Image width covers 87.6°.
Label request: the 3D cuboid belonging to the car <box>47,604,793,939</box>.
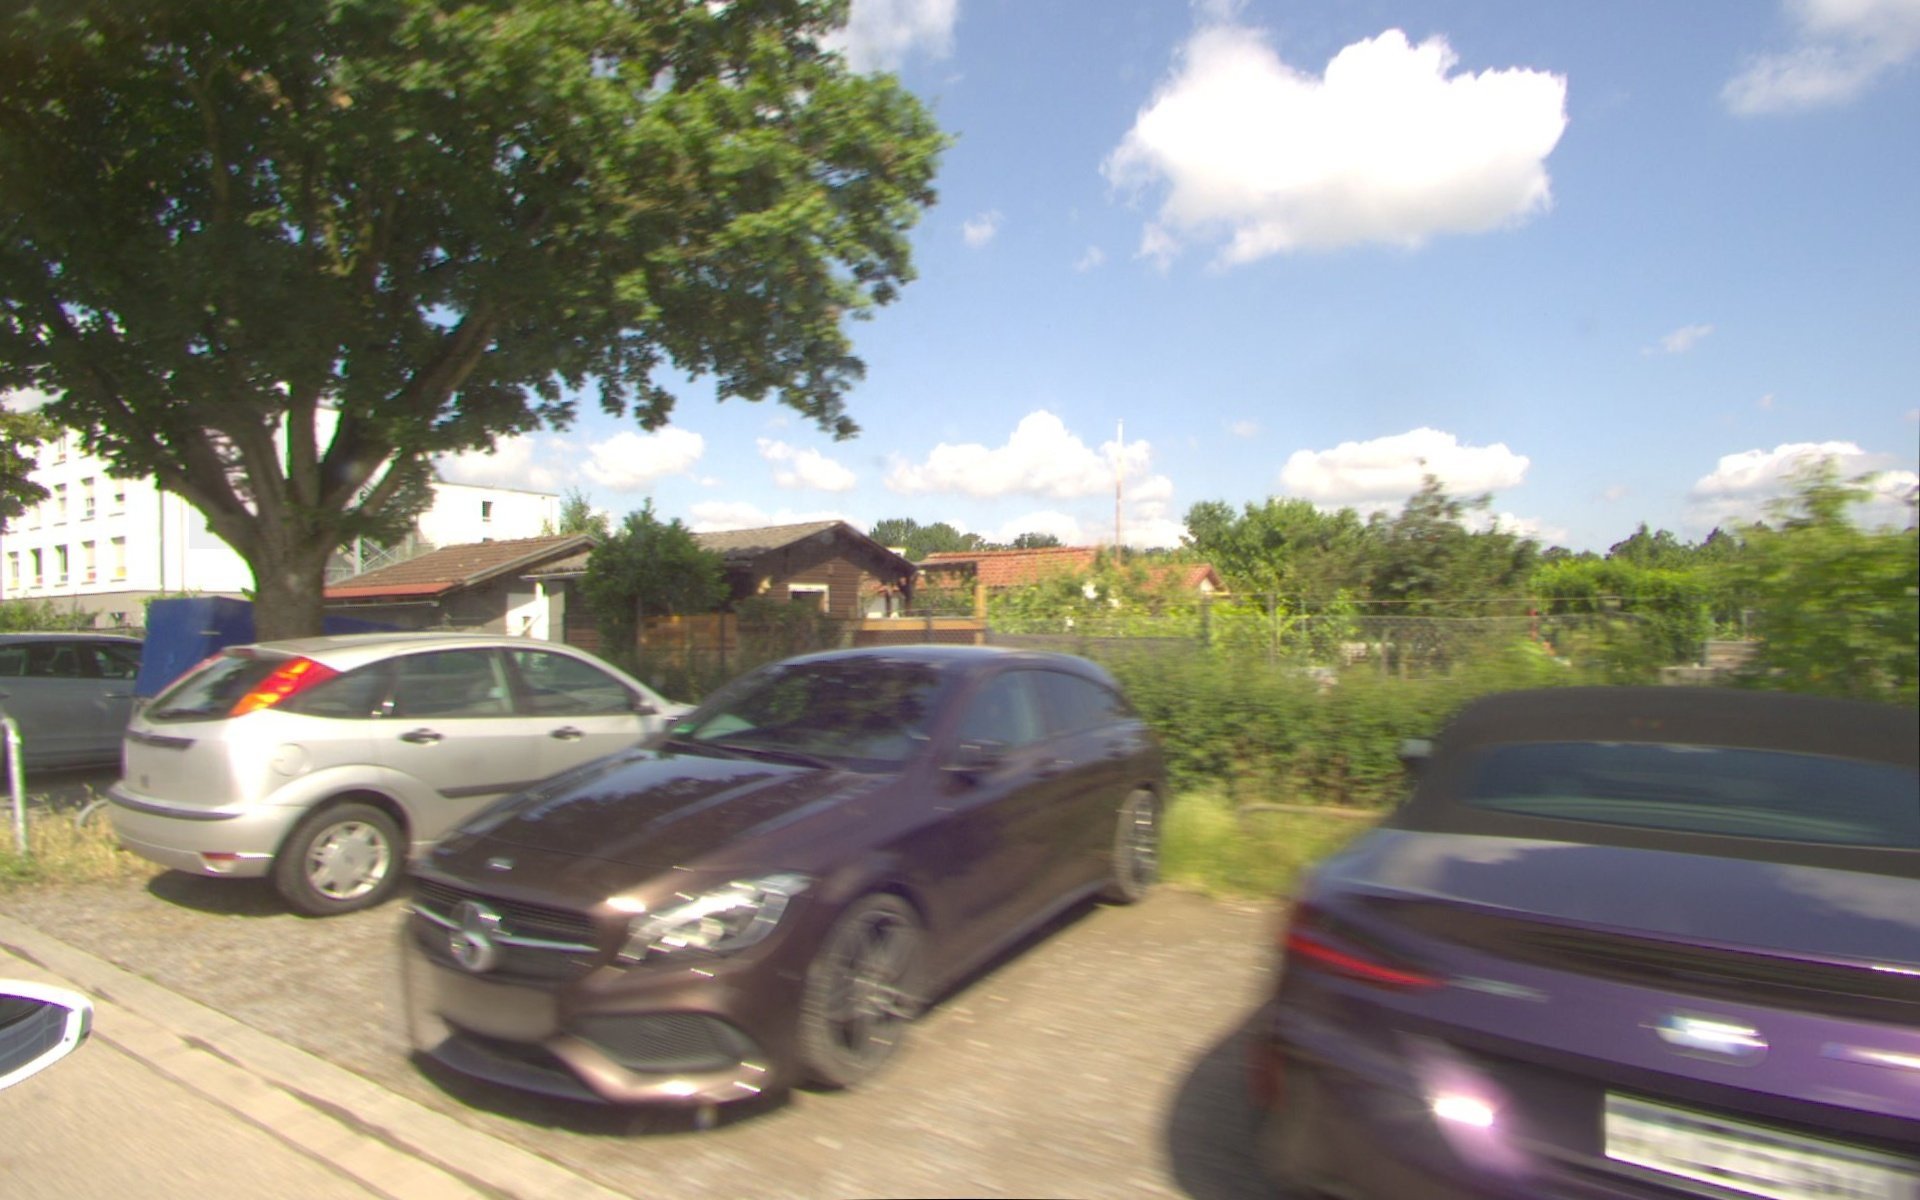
[{"bbox_3d":[-3.263,0.880,6.825,1.932,1.530,4.055,-1,-3,35],"label":"car"}]

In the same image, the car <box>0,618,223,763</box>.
[{"bbox_3d":[-11.546,1.033,11.715,1.971,1.614,4.296,-1,-3,31],"label":"car"}]

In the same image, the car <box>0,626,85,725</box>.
[{"bbox_3d":[-16.032,1.125,14.774,1.947,1.511,4.330,-1,-3,31],"label":"car"}]

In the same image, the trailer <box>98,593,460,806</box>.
[{"bbox_3d":[-6.423,0.859,9.639,1.495,1.742,2.449,0,-2,28],"label":"trailer"}]

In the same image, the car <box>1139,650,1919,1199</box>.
[{"bbox_3d":[2.271,0.895,3.144,1.932,1.441,3.901,-1,-3,35],"label":"car"}]

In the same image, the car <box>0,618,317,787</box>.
[{"bbox_3d":[-9.213,1.005,10.530,1.822,1.559,3.721,-1,-3,29],"label":"car"}]

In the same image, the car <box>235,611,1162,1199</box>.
[{"bbox_3d":[-0.603,0.859,4.628,1.842,1.473,4.062,-1,-3,30],"label":"car"}]

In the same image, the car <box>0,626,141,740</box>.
[{"bbox_3d":[-13.731,1.108,13.470,1.875,1.511,3.808,-1,-3,31],"label":"car"}]
